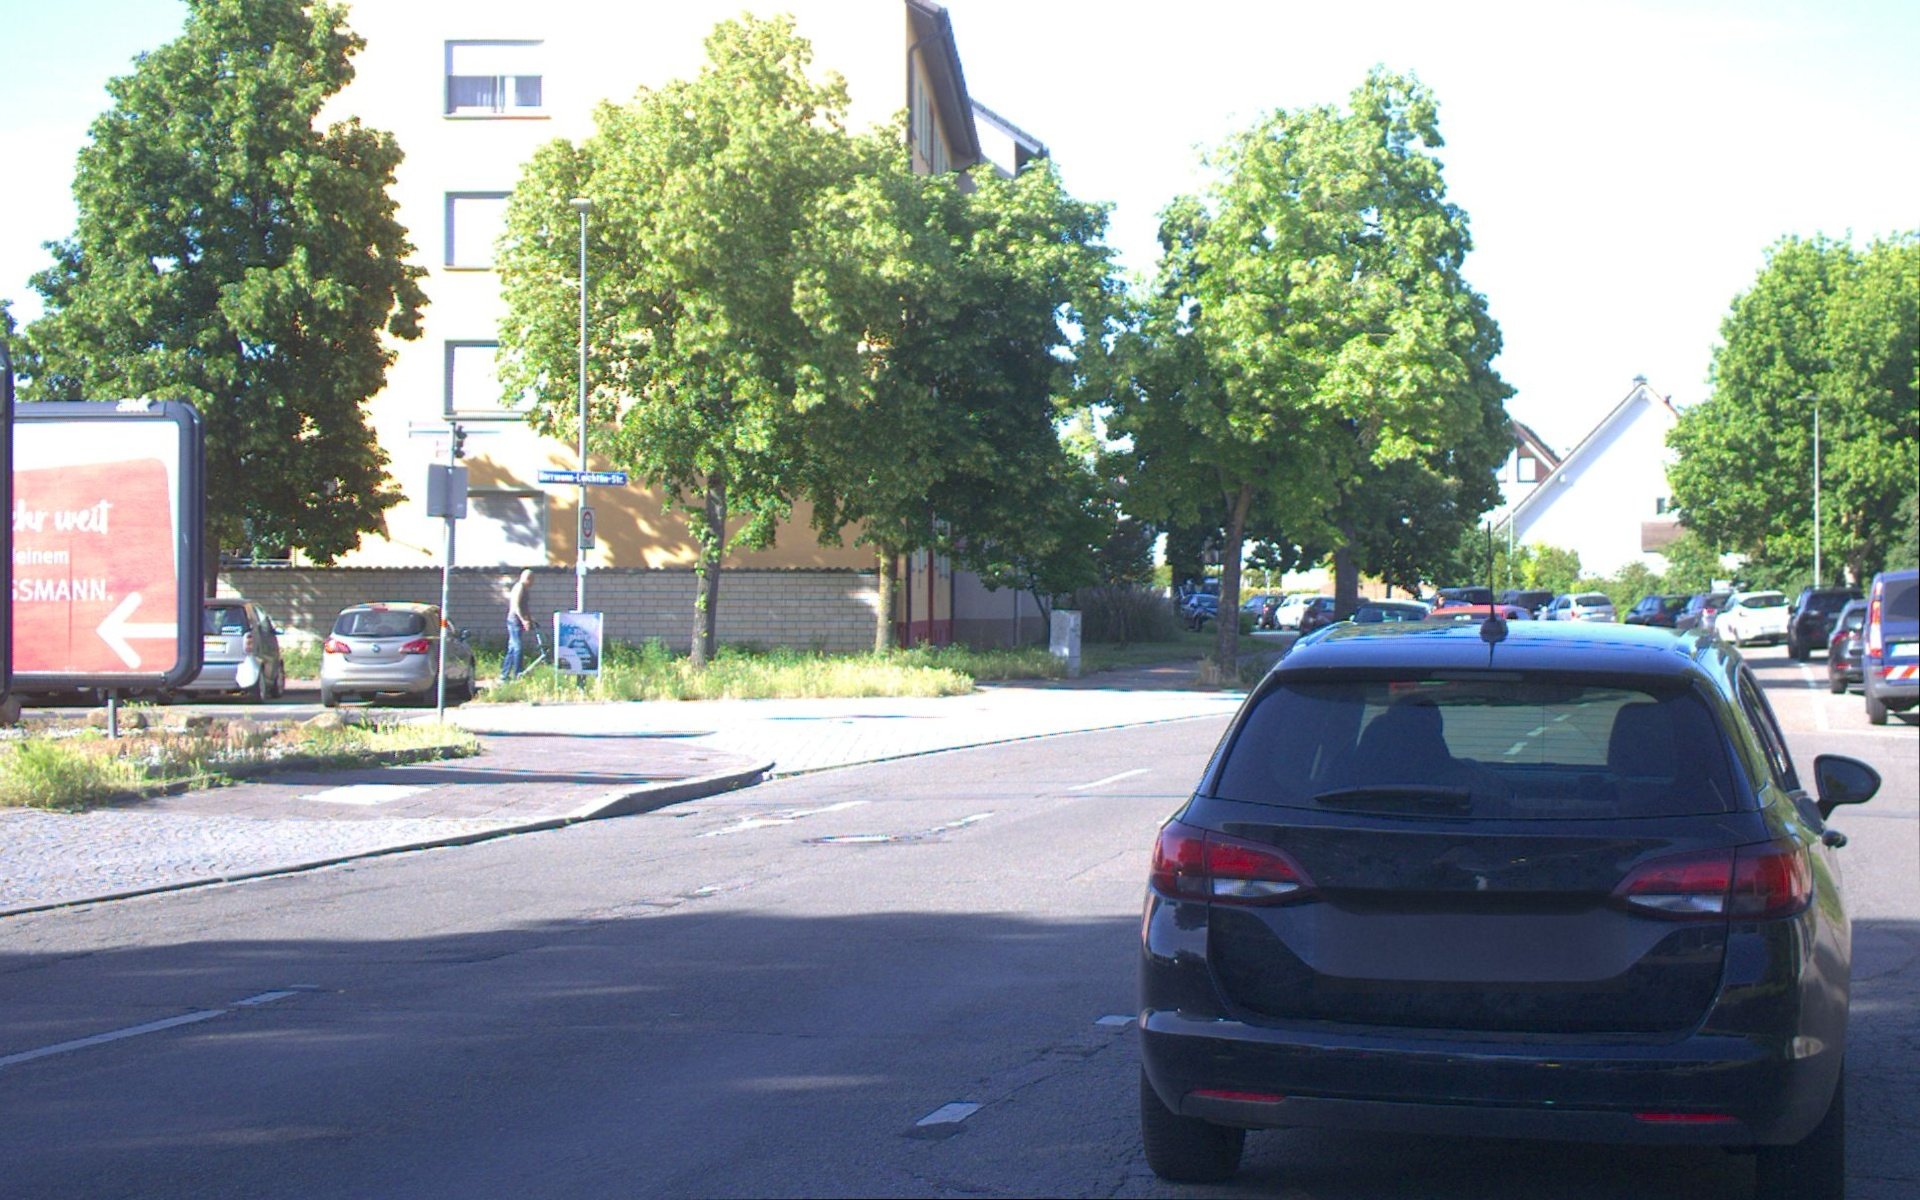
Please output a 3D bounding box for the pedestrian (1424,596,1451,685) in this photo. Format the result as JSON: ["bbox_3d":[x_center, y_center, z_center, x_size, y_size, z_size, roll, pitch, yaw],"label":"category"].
[{"bbox_3d":[9.492,0.807,68.385,0.504,1.755,0.695,0,-2,10],"label":"pedestrian"}]

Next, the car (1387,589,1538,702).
[{"bbox_3d":[7.802,0.664,53.085,2.013,1.563,4.391,1,1,12],"label":"car"}]

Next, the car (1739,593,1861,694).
[{"bbox_3d":[13.329,0.659,54.553,1.766,1.475,4.988,-1,0,14],"label":"car"}]

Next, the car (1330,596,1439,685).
[{"bbox_3d":[7.635,0.748,61.576,1.701,1.475,4.050,2,-1,10],"label":"car"}]

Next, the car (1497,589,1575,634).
[{"bbox_3d":[20.345,0.416,121.538,1.820,1.529,4.259,0,-1,-3],"label":"car"}]

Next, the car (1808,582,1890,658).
[{"bbox_3d":[20.728,0.479,80.277,1.779,1.718,4.291,0,-1,13],"label":"car"}]

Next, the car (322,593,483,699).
[{"bbox_3d":[-8.171,0.652,50.664,1.729,1.459,3.881,0,1,0],"label":"car"}]

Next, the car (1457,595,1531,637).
[{"bbox_3d":[19.695,0.603,126.985,1.820,1.529,4.259,0,-1,-3],"label":"car"}]

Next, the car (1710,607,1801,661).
[{"bbox_3d":[22.234,0.954,96.186,1.761,1.475,4.293,0,-1,3],"label":"car"}]

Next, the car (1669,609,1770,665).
[{"bbox_3d":[22.279,1.077,100.970,1.911,1.595,4.294,0,-1,-2],"label":"car"}]

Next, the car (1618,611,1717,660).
[{"bbox_3d":[21.917,1.099,106.650,2.005,1.470,4.294,0,-1,-3],"label":"car"}]

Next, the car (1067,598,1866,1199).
[{"bbox_3d":[1.630,0.776,9.829,1.763,1.486,4.288,1,0,14],"label":"car"}]

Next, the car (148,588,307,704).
[{"bbox_3d":[-10.955,0.657,51.627,1.697,1.616,3.882,0,1,-2],"label":"car"}]

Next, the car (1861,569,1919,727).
[{"bbox_3d":[12.419,0.585,43.575,1.838,1.901,4.695,1,0,14],"label":"car"}]

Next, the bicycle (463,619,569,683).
[{"bbox_3d":[-7.034,0.812,54.452,1.616,1.007,0.406,1,-2,-18],"label":"bicycle"}]

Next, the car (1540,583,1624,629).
[{"bbox_3d":[20.945,0.221,115.851,1.820,1.529,4.259,0,-1,-3],"label":"car"}]

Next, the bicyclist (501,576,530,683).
[{"bbox_3d":[-7.044,0.474,54.464,0.388,1.680,0.382,1,-2,-18],"label":"bicyclist"}]
